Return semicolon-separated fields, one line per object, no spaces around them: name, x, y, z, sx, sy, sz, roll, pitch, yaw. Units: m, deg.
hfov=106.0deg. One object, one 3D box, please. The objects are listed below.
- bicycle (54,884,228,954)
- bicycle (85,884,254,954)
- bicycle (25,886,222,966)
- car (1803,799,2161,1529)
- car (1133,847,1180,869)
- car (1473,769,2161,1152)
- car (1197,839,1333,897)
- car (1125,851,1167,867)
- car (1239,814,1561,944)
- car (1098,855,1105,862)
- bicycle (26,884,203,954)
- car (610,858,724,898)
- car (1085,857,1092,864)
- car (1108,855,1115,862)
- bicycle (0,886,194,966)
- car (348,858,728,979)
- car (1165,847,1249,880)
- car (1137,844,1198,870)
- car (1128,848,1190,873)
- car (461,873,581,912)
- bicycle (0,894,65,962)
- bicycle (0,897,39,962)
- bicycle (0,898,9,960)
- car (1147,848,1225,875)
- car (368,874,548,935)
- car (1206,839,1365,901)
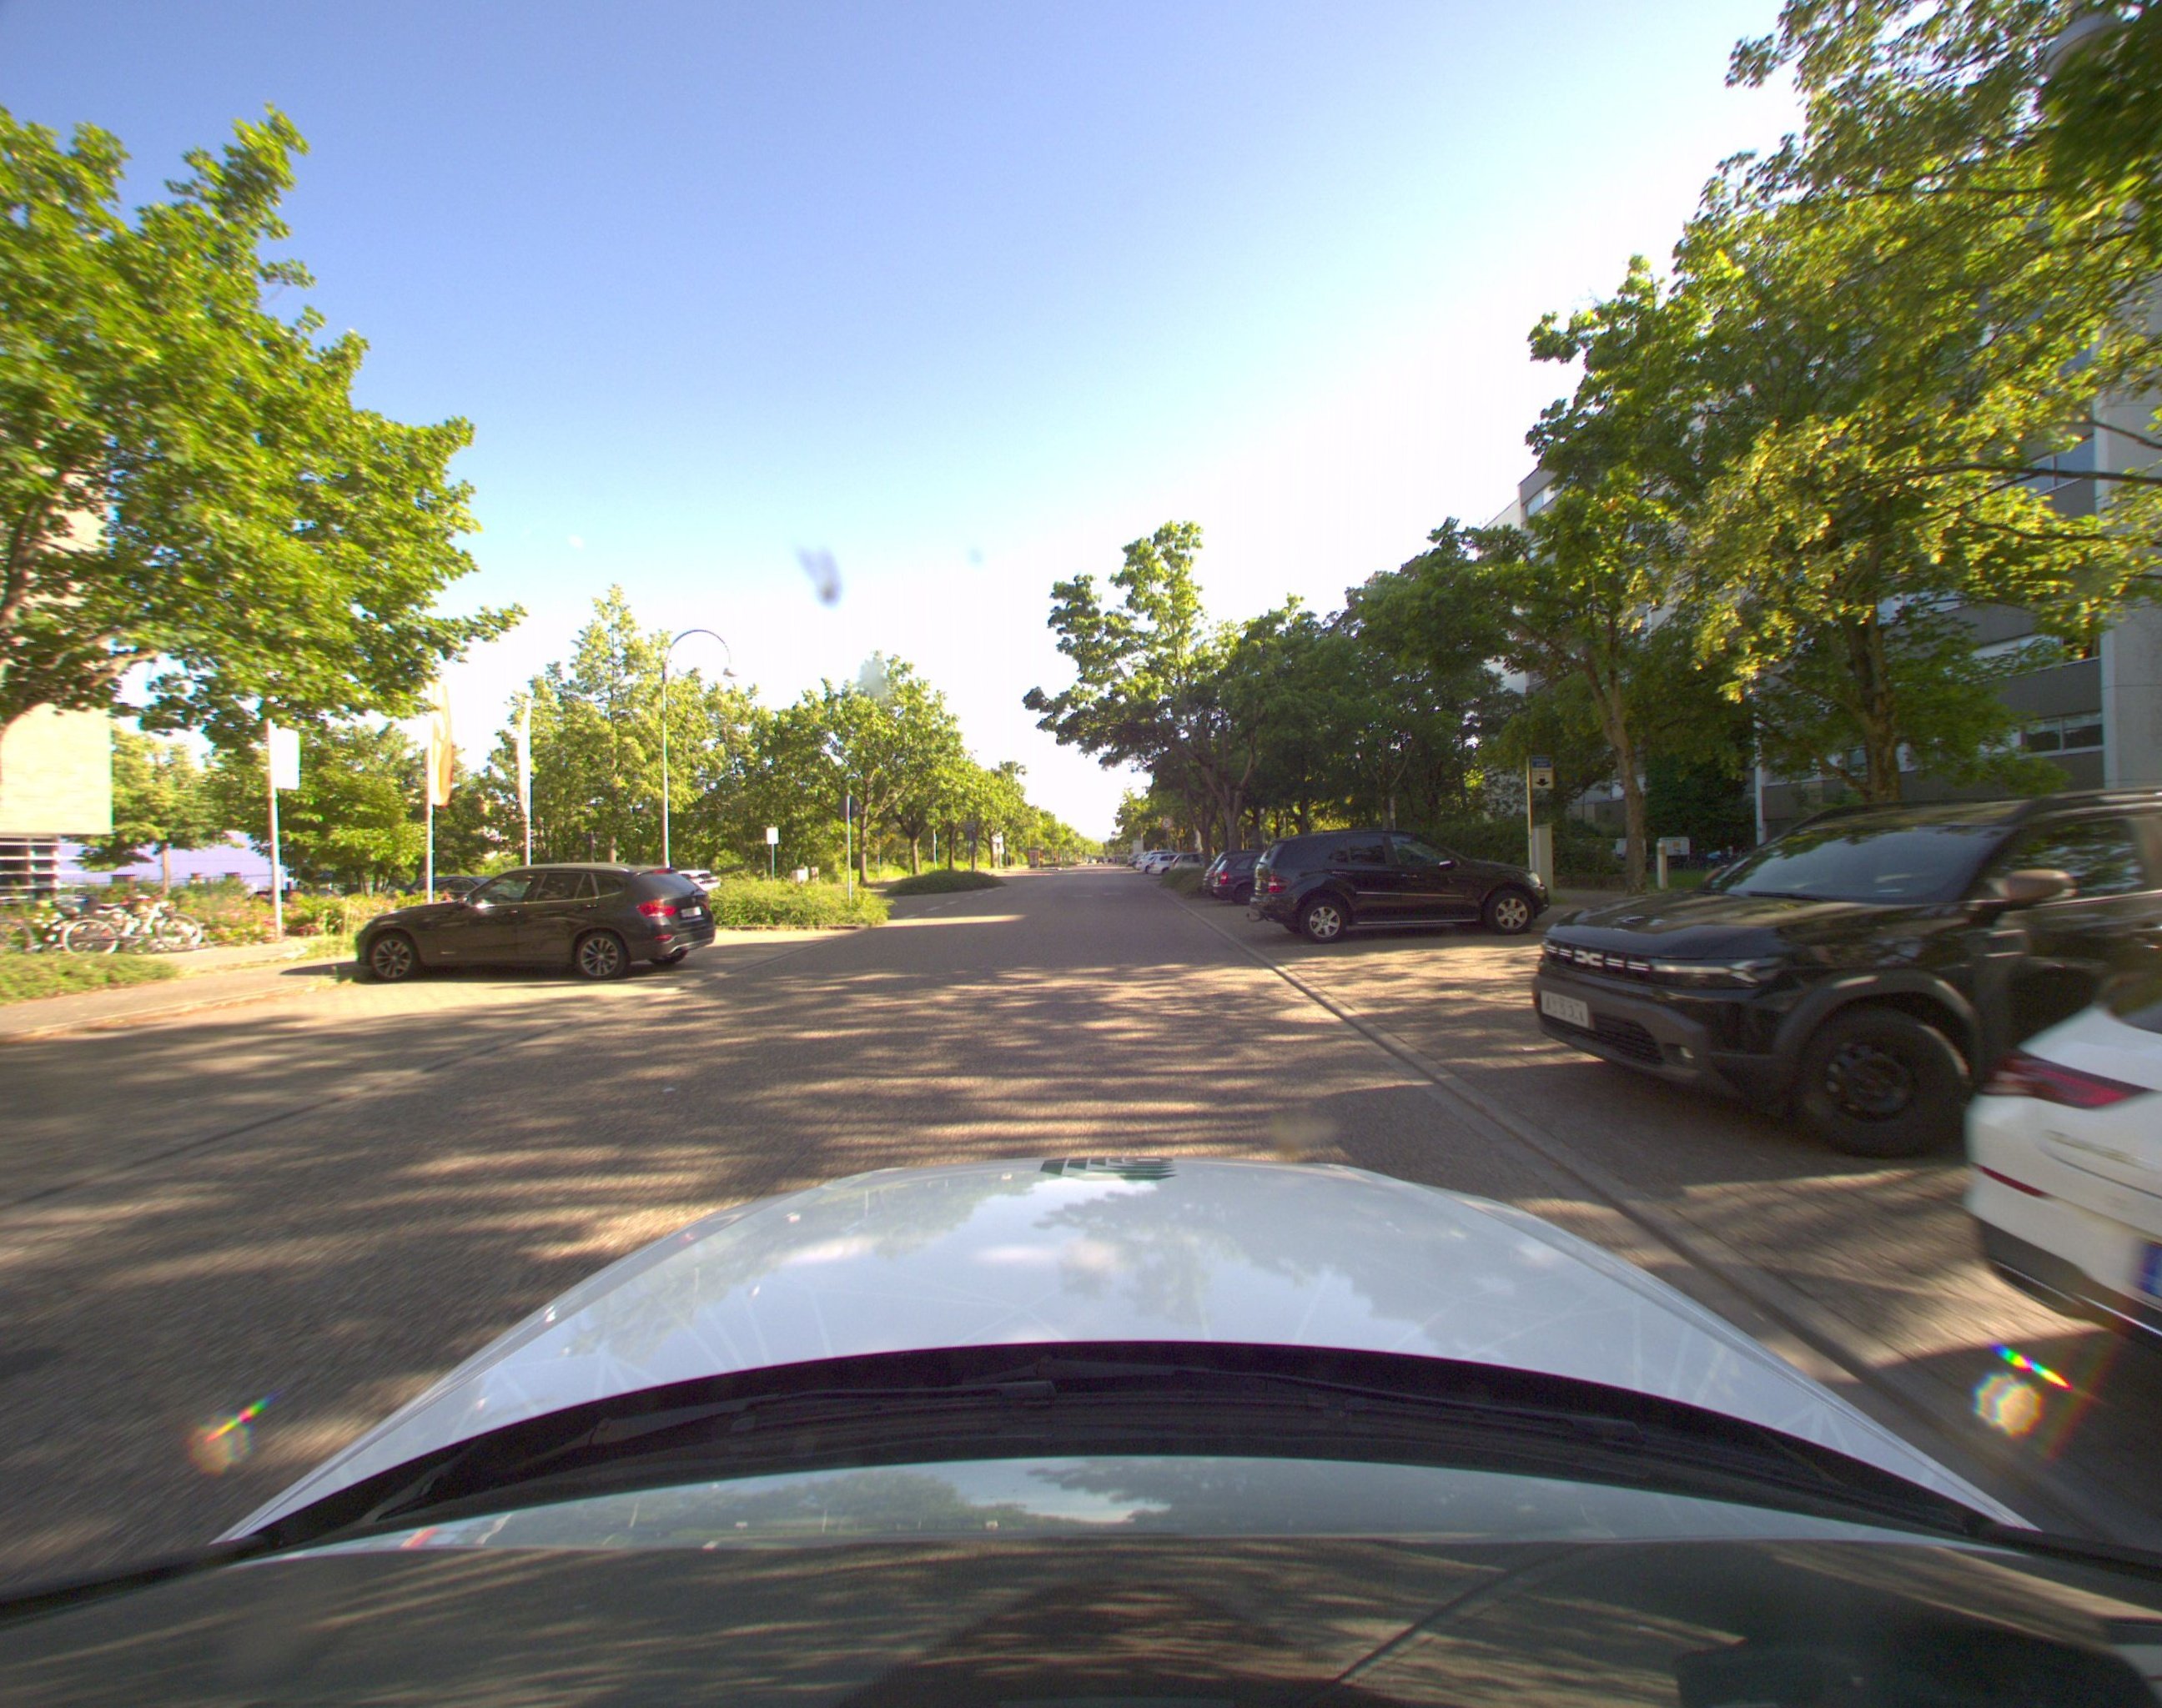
bicycle;-16.335;1.091;14.254;0.435;1.047;2.194;-1;0;2
bicycle;-15.818;1.096;14.235;0.435;1.047;2.194;-1;0;2
bicycle;-14.806;1.068;12.707;0.435;1.047;2.194;-1;0;2
car;4.490;0.628;1.656;4.427;1.545;1.817;-1;0;0
car;6.241;0.312;67.439;3.677;1.522;1.650;-4;0;-1
car;4.721;0.447;4.618;4.106;1.618;1.733;-3;-1;-1
car;5.716;0.429;25.618;3.798;1.499;1.700;-4;0;-2
car;6.671;0.513;84.352;4.149;1.428;2.001;-4;0;1
car;5.143;0.398;13.655;4.570;1.779;2.001;-3;0;1
car;5.851;1.349;232.495;1.986;2.013;4.002;-1;0;2
bicycle;-16.826;1.089;14.280;0.435;1.047;2.194;-1;0;2
car;-17.874;1.024;35.252;4.060;1.451;1.626;-3;0;2
car;2.068;1.723;222.485;1.821;1.775;3.741;-1;0;2
car;8.984;1.247;237.387;1.986;2.013;4.002;-1;0;2
bicycle;-15.287;1.076;12.708;0.435;1.047;2.194;-1;0;2
car;-7.479;0.848;11.500;4.176;1.520;1.773;-1;0;2
car;6.358;0.464;41.248;3.972;1.451;1.718;-3;0;1
car;6.601;0.253;62.678;4.421;1.647;1.816;-4;0;-1
car;5.700;0.456;59.991;4.329;1.489;1.737;-4;0;-1
car;-24.949;1.693;36.362;4.040;1.472;1.831;-3;0;1
bicycle;-17.454;1.202;12.691;0.435;1.047;2.194;-1;0;2
bicycle;-18.261;1.276;12.978;0.435;1.047;2.194;-1;0;2
bicycle;-18.795;1.293;12.989;0.435;1.047;2.194;-1;0;2
car;5.882;0.419;45.988;4.253;1.428;1.831;-1;0;6
car;-19.898;1.582;26.133;4.307;1.619;1.894;-3;0;2
car;5.643;0.422;22.836;3.972;1.387;1.823;-4;0;1
